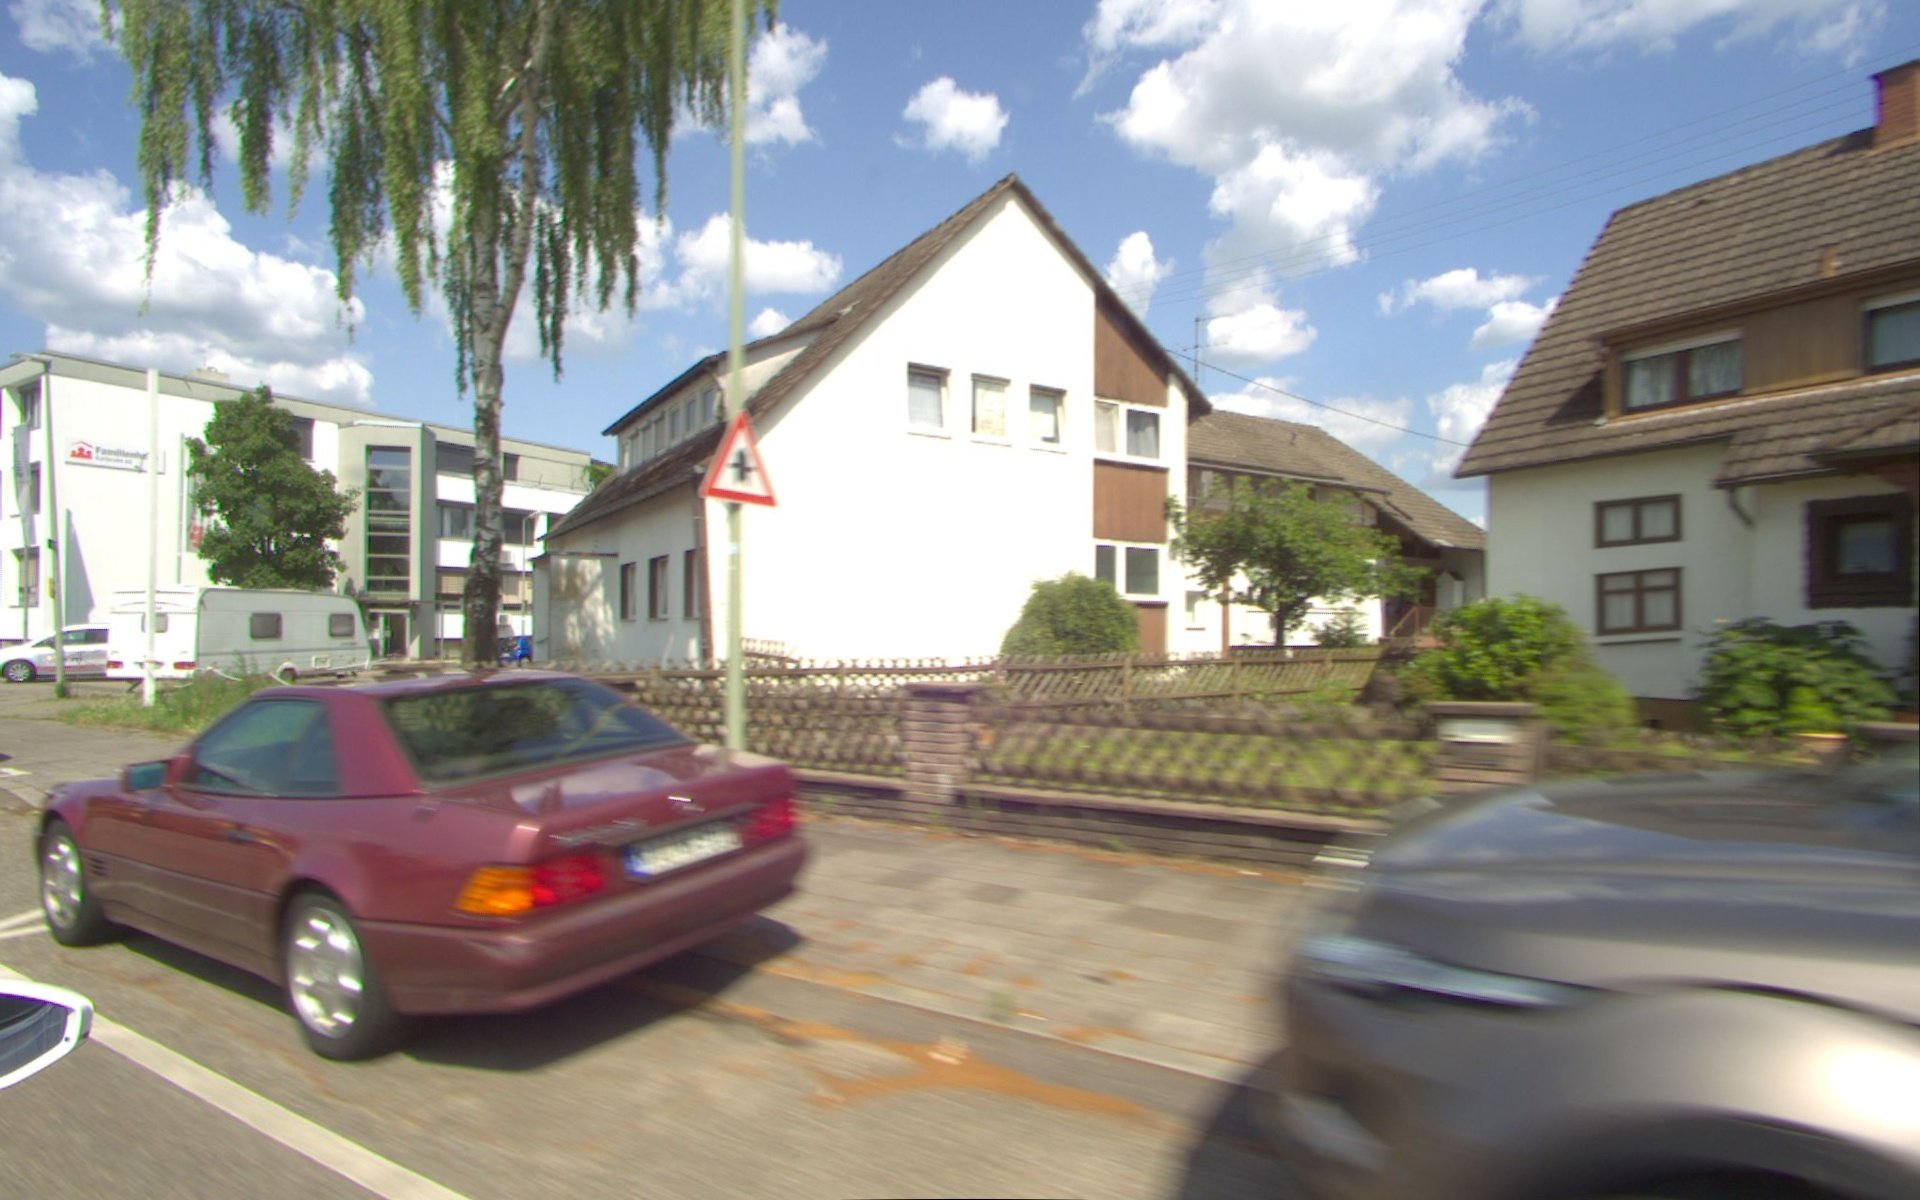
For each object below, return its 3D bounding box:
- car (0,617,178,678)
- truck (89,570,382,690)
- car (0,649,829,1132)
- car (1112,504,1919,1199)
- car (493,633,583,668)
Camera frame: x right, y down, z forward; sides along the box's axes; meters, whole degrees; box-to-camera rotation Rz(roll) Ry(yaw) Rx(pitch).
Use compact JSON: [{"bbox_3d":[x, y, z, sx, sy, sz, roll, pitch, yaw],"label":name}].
[{"bbox_3d":[-27.074,1.486,31.062,4.362,1.773,1.850,2,-4,-41],"label":"car"},{"bbox_3d":[-17.732,0.766,25.084,2.516,2.610,6.062,1,-2,6],"label":"truck"},{"bbox_3d":[-2.873,0.955,4.857,4.373,1.352,1.667,-1,-2,32],"label":"car"},{"bbox_3d":[2.518,0.730,1.479,4.178,1.661,1.830,-1,-2,32],"label":"car"},{"bbox_3d":[-18.337,2.182,43.642,1.593,1.416,3.351,0,-2,30],"label":"car"}]
